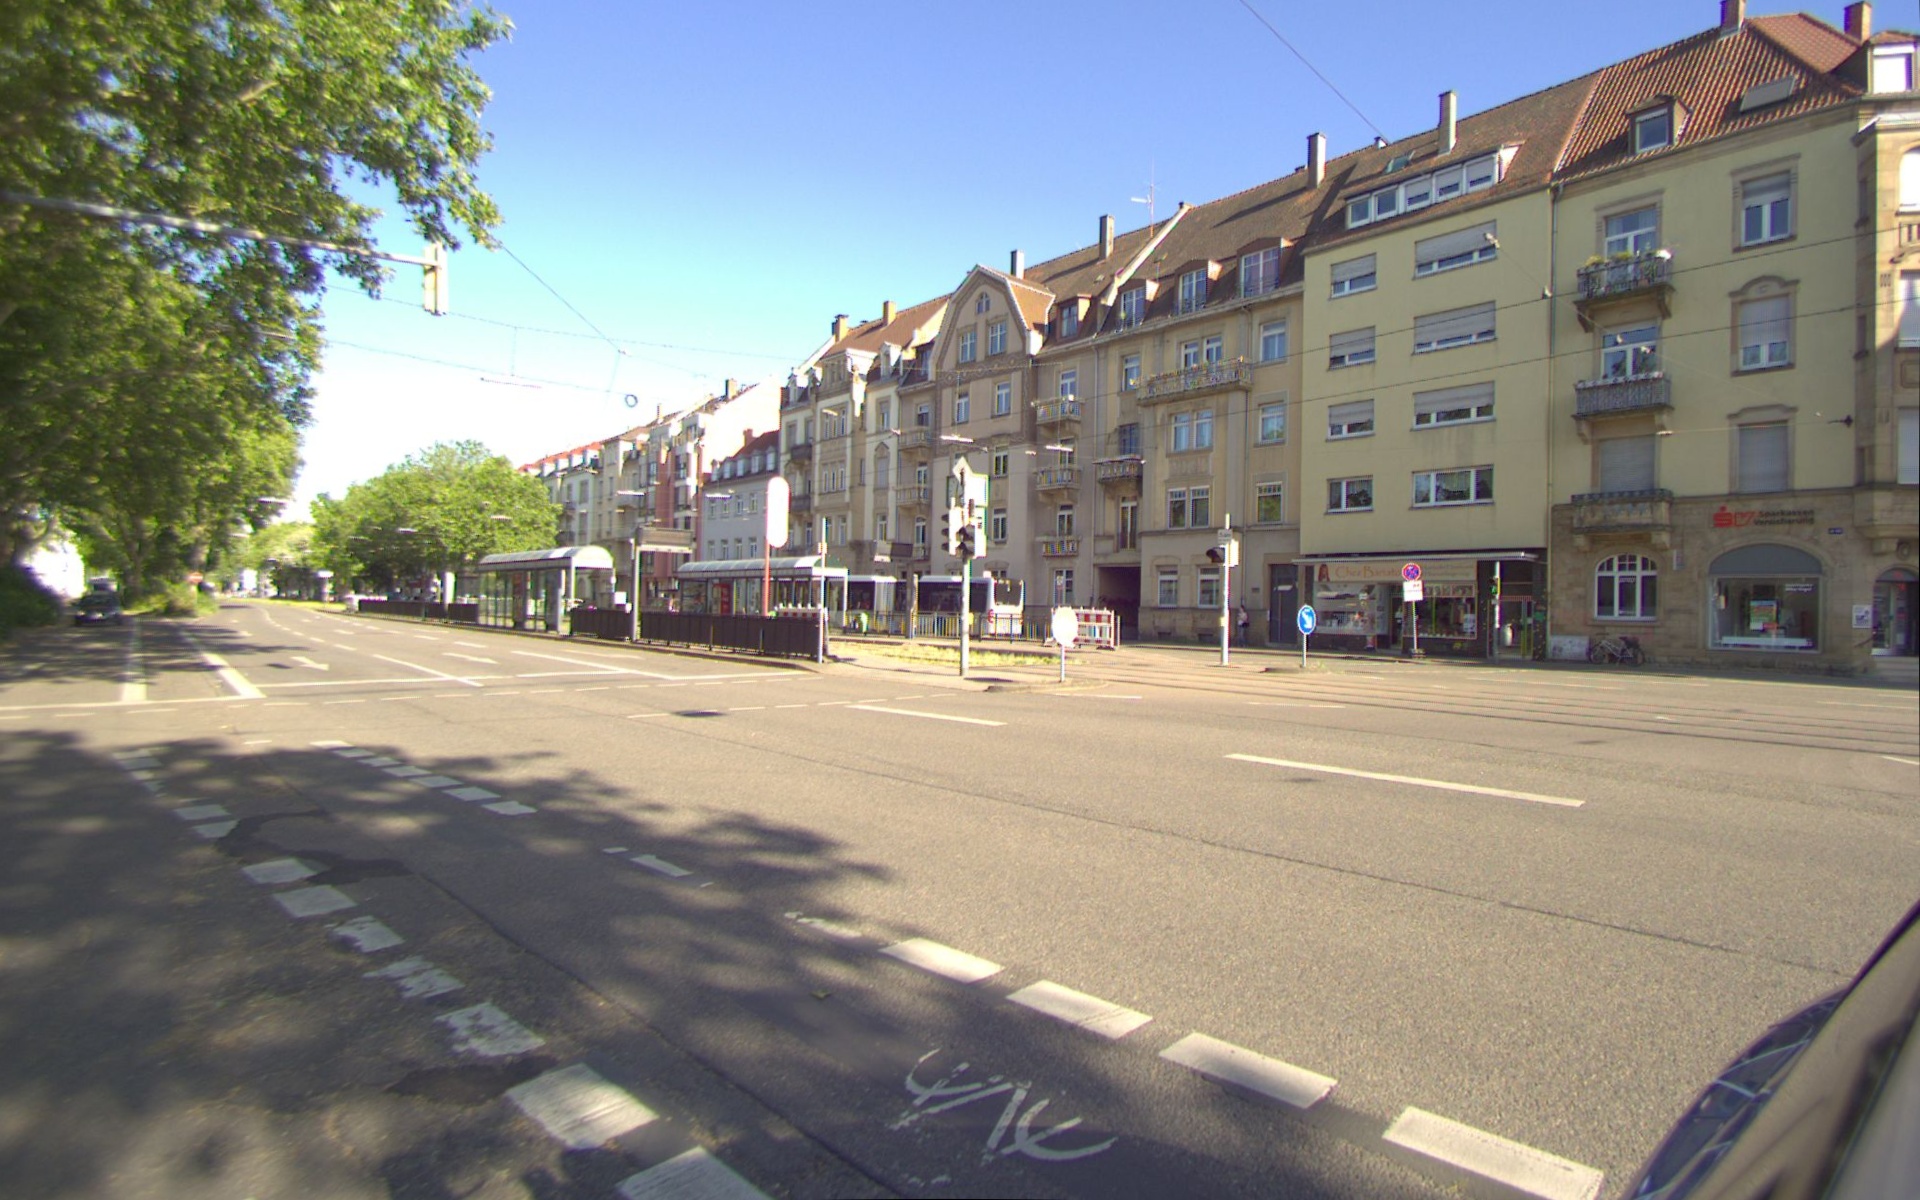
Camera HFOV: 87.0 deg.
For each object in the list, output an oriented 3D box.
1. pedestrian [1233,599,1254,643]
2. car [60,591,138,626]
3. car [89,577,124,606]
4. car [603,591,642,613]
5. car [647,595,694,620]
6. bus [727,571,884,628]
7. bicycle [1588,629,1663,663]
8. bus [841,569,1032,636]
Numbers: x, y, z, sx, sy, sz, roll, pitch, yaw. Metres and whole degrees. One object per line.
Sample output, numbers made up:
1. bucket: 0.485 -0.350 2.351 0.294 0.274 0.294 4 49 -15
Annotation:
1. pedestrian: 11.998 0.874 42.826 0.695 1.826 0.521 2 -1 -36
2. car: -38.386 0.418 45.216 1.792 1.427 3.891 2 -3 -27
3. car: -67.065 -0.611 79.524 1.964 2.040 3.994 3 -4 -39
4. car: -29.135 0.175 87.342 1.769 1.813 3.993 3 -2 -41
5. car: -23.015 0.580 80.416 1.995 1.919 3.993 3 -2 -41
6. bus: -9.238 -0.077 59.210 10.830 3.055 3.045 1 -2 44
7. bicycle: 21.157 1.450 32.218 0.507 0.987 1.951 -1 1 -38
8. bus: -1.446 0.081 51.738 10.649 3.072 3.083 1 -2 44
